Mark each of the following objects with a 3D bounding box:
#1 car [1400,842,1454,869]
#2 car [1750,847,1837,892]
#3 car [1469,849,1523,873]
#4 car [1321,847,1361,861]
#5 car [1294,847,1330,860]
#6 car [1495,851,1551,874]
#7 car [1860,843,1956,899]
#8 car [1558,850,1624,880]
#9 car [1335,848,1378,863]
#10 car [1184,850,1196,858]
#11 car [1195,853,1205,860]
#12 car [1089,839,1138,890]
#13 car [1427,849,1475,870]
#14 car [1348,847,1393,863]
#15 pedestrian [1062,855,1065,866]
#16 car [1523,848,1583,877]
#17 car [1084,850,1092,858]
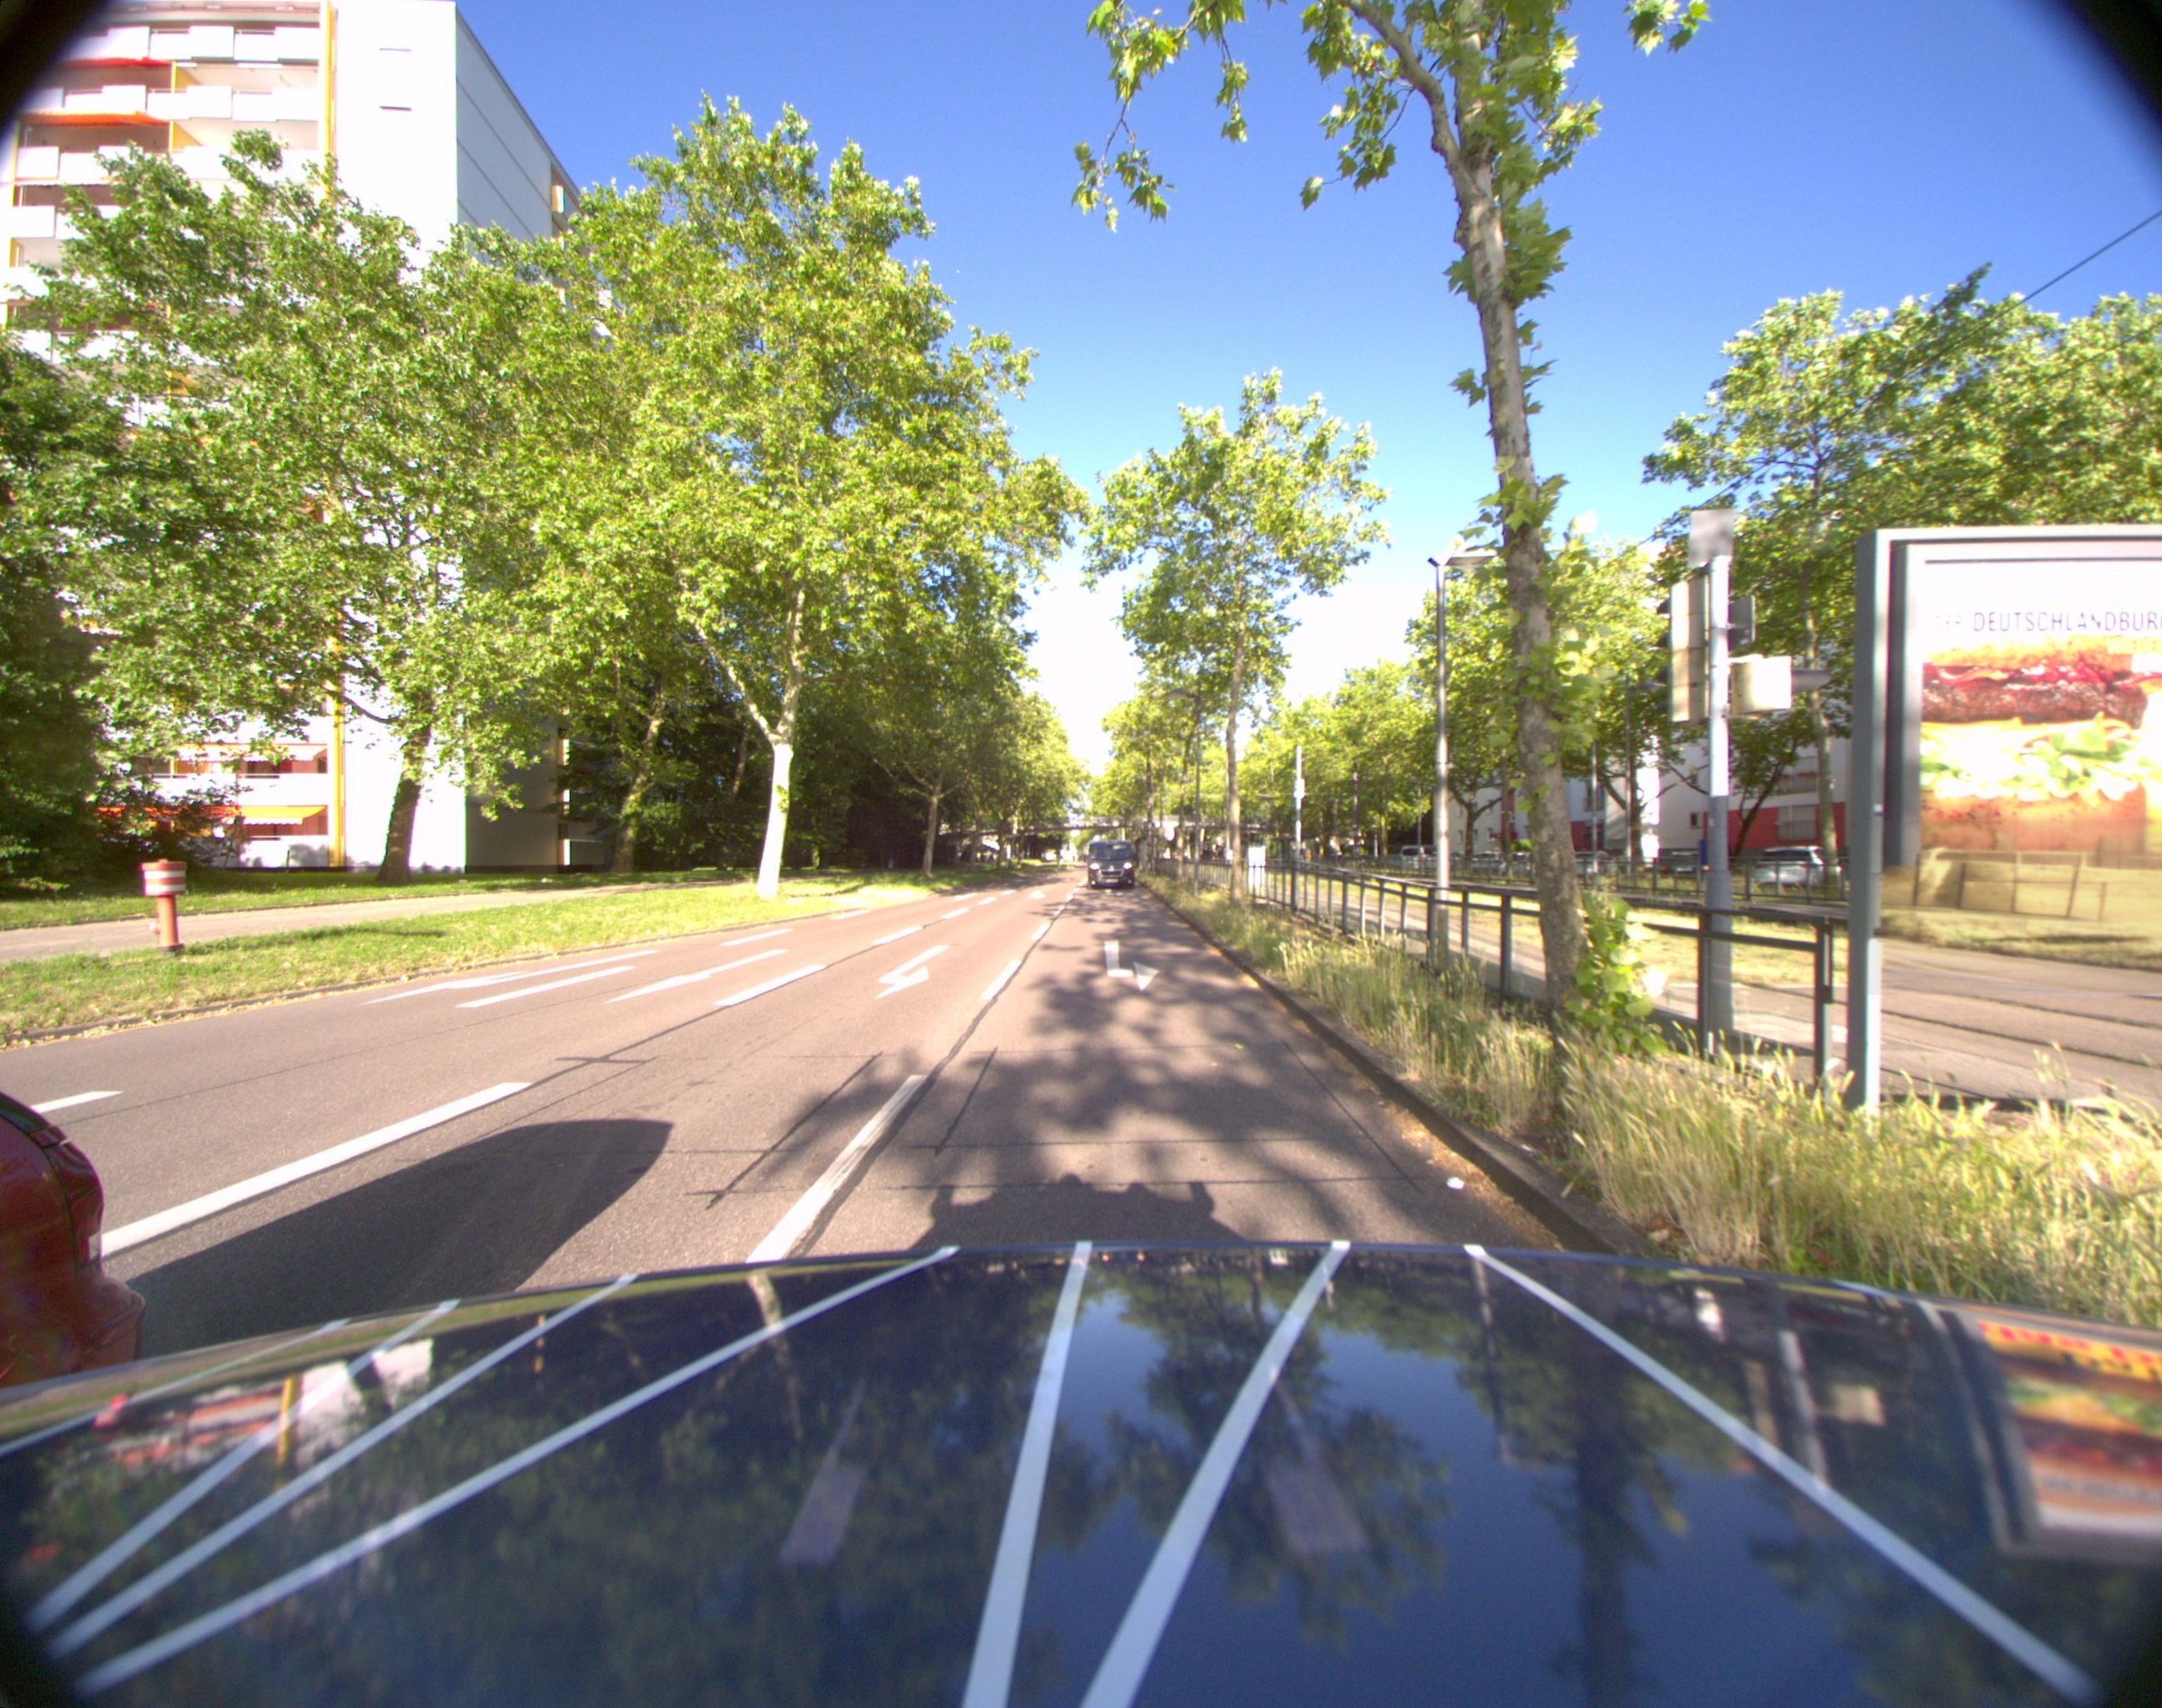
[{"bbox_3d":[25.956,0.088,56.990,4.376,1.873,1.919,-1,1,-39],"label":"car"},{"bbox_3d":[25.052,0.497,26.684,3.689,1.425,1.683,-1,1,-38],"label":"car"},{"bbox_3d":[25.953,0.418,47.494,3.689,1.440,1.645,-1,1,-39],"label":"car"},{"bbox_3d":[27.238,0.027,79.573,4.376,1.367,1.919,-1,1,-39],"label":"car"},{"bbox_3d":[27.197,-0.057,89.427,4.376,1.367,1.919,-1,1,-39],"label":"car"},{"bbox_3d":[26.196,0.484,44.959,3.689,1.234,1.645,-1,1,-39],"label":"car"},{"bbox_3d":[25.014,0.464,22.959,3.689,1.558,1.683,-1,1,-38],"label":"car"},{"bbox_3d":[25.326,0.503,37.689,3.689,1.384,1.645,-1,1,-38],"label":"car"},{"bbox_3d":[26.584,0.102,73.276,4.376,1.367,1.919,-1,1,-39],"label":"car"},{"bbox_3d":[21.993,0.038,153.934,1.923,1.565,4.368,-1,0,2],"label":"car"},{"bbox_3d":[25.658,0.581,163.286,1.672,1.351,3.295,-1,0,1],"label":"car"},{"bbox_3d":[1.433,0.428,35.011,2.040,2.102,5.113,-1,0,1],"label":"car"},{"bbox_3d":[26.241,0.350,53.897,3.689,1.388,1.645,-1,1,-39],"label":"car"},{"bbox_3d":[26.789,0.071,70.173,4.376,1.367,1.919,-1,1,-39],"label":"car"},{"bbox_3d":[-2.351,0.833,103.168,0.398,1.454,0.417,-1,1,-2],"label":"pedestrian"},{"bbox_3d":[25.807,0.432,41.517,3.689,1.440,1.645,-1,1,-39],"label":"car"},{"bbox_3d":[1.985,-0.065,203.687,2.040,1.995,5.113,-1,0,1],"label":"car"}]
